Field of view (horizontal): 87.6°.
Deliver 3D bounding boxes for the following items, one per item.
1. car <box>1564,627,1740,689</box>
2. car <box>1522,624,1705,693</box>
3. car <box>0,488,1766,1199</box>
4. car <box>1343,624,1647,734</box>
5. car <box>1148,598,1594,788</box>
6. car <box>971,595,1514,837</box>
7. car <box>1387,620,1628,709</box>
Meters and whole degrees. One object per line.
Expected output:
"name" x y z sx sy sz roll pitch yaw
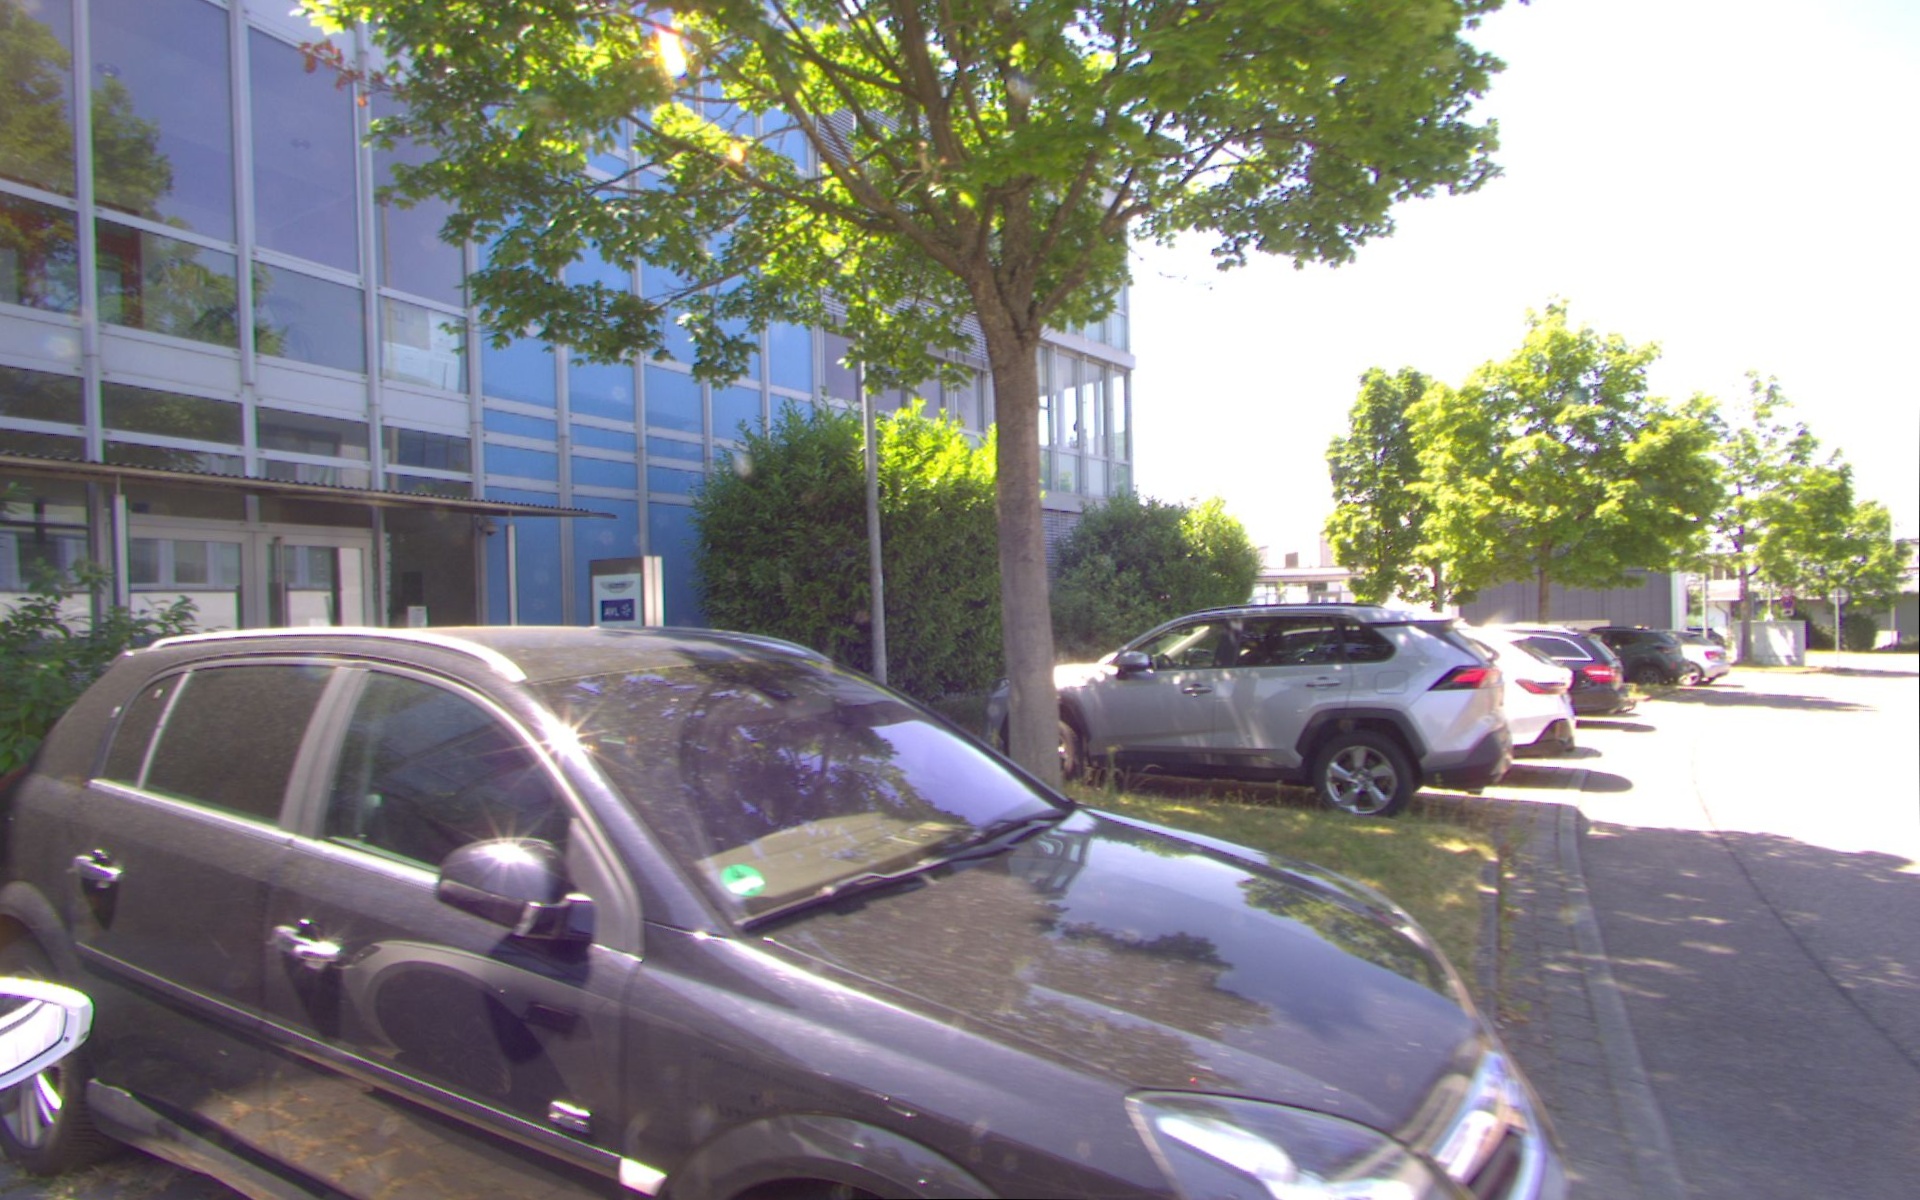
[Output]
"car" 18.312 1.492 26.599 1.618 1.462 3.558 1 -1 -41
"car" 16.389 1.408 25.237 1.618 1.545 3.558 1 -1 -41
"car" -0.838 0.743 2.741 4.496 1.569 1.756 -1 -1 30
"car" 8.596 1.183 16.280 4.127 1.505 1.649 0 -1 39
"car" 4.265 0.838 10.664 4.141 1.664 1.653 0 -1 32
"car" 2.394 0.813 8.810 4.269 1.664 1.848 0 -1 32
"car" 11.332 1.265 20.919 1.645 1.626 4.136 1 -1 -44
